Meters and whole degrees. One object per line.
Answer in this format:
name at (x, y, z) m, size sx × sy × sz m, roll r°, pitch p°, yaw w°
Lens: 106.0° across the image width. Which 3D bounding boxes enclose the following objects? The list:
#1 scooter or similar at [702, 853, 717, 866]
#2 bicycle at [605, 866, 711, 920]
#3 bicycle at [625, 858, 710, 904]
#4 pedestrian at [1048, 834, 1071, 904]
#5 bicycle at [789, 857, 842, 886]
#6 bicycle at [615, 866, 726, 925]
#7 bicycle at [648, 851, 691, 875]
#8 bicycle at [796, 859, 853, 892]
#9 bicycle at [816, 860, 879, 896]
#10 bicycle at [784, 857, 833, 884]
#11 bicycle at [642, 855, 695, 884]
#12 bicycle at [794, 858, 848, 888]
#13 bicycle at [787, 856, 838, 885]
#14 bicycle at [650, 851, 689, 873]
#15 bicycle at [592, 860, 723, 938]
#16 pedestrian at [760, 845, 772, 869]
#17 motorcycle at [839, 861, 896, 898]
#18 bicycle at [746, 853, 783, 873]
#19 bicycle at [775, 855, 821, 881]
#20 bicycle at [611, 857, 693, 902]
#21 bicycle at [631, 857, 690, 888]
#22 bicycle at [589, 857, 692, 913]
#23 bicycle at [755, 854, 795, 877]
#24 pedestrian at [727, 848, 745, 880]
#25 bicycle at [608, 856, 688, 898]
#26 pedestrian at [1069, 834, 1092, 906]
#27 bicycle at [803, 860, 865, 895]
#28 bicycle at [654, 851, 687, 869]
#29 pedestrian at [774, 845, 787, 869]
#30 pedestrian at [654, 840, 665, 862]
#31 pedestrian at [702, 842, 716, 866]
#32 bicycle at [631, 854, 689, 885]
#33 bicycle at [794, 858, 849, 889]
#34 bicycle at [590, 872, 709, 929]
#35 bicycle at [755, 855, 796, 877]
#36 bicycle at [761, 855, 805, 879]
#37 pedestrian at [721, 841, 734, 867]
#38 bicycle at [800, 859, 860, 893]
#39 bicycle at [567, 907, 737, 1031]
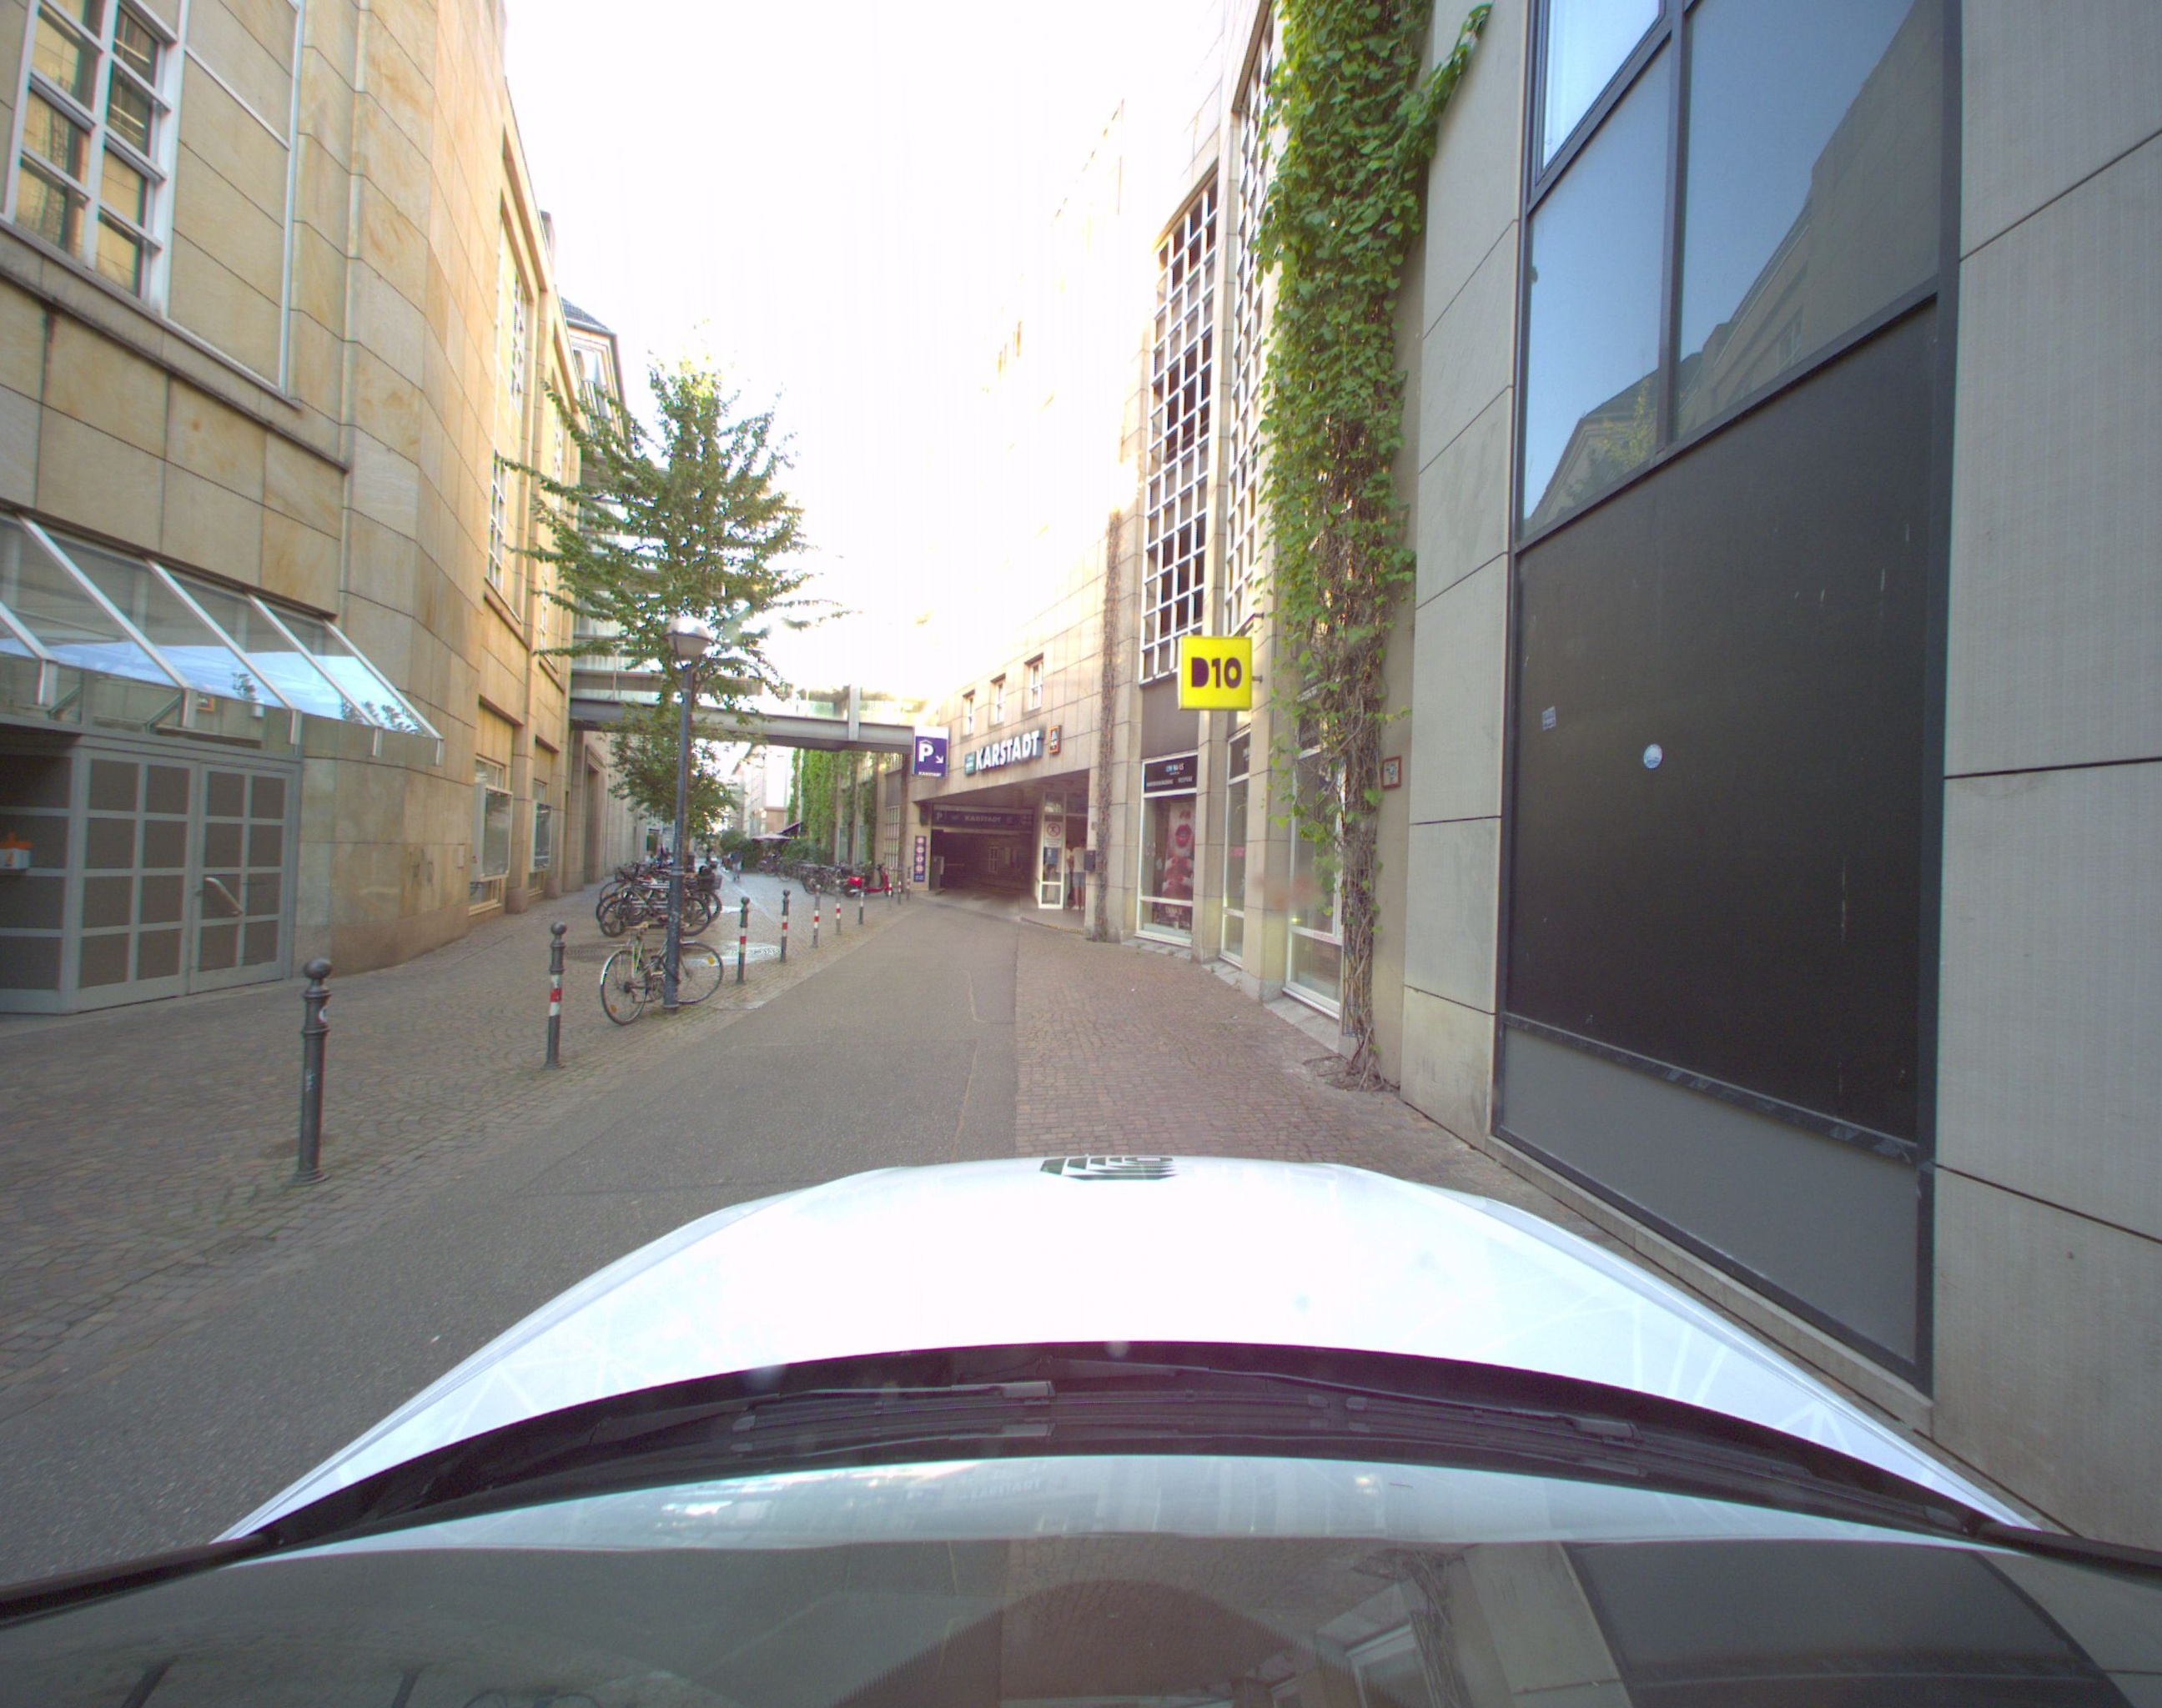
scooter or similar at (-25.629, 0.396, 56.165) m, size 0.896 × 0.843 × 0.904 m, roll 1°, pitch 0°, yaw -26°
bicycle at (-9.003, 0.833, 17.428) m, size 1.920 × 1.101 × 0.691 m, roll 2°, pitch 0°, yaw -22°
bicycle at (-11.053, 0.723, 21.843) m, size 1.920 × 1.182 × 0.691 m, roll 2°, pitch 0°, yaw -22°
pedestrian at (-0.578, 0.402, 21.748) m, size 0.540 × 1.846 × 0.408 m, roll 2°, pitch 0°, yaw 1°
bicycle at (-11.028, 0.704, 33.834) m, size 2.003 × 1.182 × 0.688 m, roll 0°, pitch 0°, yaw -24°
bicycle at (-8.180, 0.826, 16.316) m, size 1.922 × 1.101 × 0.690 m, roll 2°, pitch 0°, yaw -25°
bicycle at (-21.518, 0.474, 42.604) m, size 1.920 × 1.182 × 0.691 m, roll 2°, pitch 0°, yaw -22°
bicycle at (-9.650, 0.777, 30.630) m, size 2.003 × 1.182 × 0.796 m, roll 0°, pitch 0°, yaw -24°
bicycle at (-7.997, 0.800, 27.903) m, size 2.003 × 1.182 × 0.690 m, roll 0°, pitch 0°, yaw -24°
bicycle at (-12.072, 0.718, 36.053) m, size 2.003 × 1.182 × 0.688 m, roll 0°, pitch 0°, yaw -24°
bicycle at (-17.743, 0.668, 35.071) m, size 1.920 × 1.182 × 0.691 m, roll 2°, pitch 0°, yaw -22°
bicycle at (-10.535, 0.746, 32.995) m, size 2.003 × 1.182 × 0.688 m, roll 0°, pitch 0°, yaw -24°
bicycle at (-11.545, 0.705, 35.025) m, size 2.003 × 1.182 × 0.688 m, roll 0°, pitch 0°, yaw -24°
bicycle at (-23.419, 0.441, 46.396) m, size 1.920 × 1.182 × 0.691 m, roll 2°, pitch 0°, yaw -22°
bicycle at (-7.260, 0.755, 14.064) m, size 1.922 × 1.261 × 0.802 m, roll 2°, pitch 0°, yaw -25°
pedestrian at (-23.647, 0.204, 61.150) m, size 0.779 × 1.804 × 0.761 m, roll 2°, pitch -1°, yaw -27°
motorcycle at (-6.904, 0.798, 26.326) m, size 1.753 × 1.155 × 0.590 m, roll 0°, pitch 0°, yaw -22°
bicycle at (-18.952, 0.532, 48.766) m, size 2.003 × 1.182 × 0.688 m, roll 0°, pitch 0°, yaw -24°
bicycle at (-13.307, 0.652, 38.303) m, size 2.003 × 1.182 × 0.688 m, roll 0°, pitch 0°, yaw -24°
bicycle at (-11.821, 0.701, 22.512) m, size 1.920 × 1.182 × 0.691 m, roll 2°, pitch 0°, yaw -22°
bicycle at (-16.262, 0.717, 31.555) m, size 1.920 × 1.182 × 0.691 m, roll 2°, pitch 0°, yaw -22°
bicycle at (-9.835, 0.696, 18.254) m, size 1.920 × 1.182 × 0.691 m, roll 2°, pitch 0°, yaw -22°
bicycle at (-16.723, 0.617, 44.474) m, size 2.003 × 1.182 × 0.688 m, roll 0°, pitch 0°, yaw -24°
pedestrian at (-16.743, 0.482, 39.536) m, size 0.752 × 1.509 × 0.632 m, roll 1°, pitch -1°, yaw -27°
bicycle at (-12.466, 0.667, 23.496) m, size 1.920 × 1.182 × 0.691 m, roll 2°, pitch 0°, yaw -22°
pedestrian at (-0.020, 0.423, 21.511) m, size 0.540 × 1.861 × 0.408 m, roll 2°, pitch 0°, yaw 1°
bicycle at (-8.704, 0.805, 28.698) m, size 2.003 × 1.182 × 0.690 m, roll 0°, pitch 0°, yaw -24°
bicycle at (-28.033, 0.407, 55.662) m, size 1.920 × 1.182 × 0.691 m, roll 2°, pitch 0°, yaw -22°
pedestrian at (-22.641, 0.234, 61.284) m, size 0.779 × 1.804 × 0.761 m, roll 2°, pitch -1°, yaw -27°
pedestrian at (-35.020, -0.239, 67.607) m, size 0.779 × 1.804 × 0.628 m, roll 1°, pitch -1°, yaw -28°
pedestrian at (-26.027, 0.005, 56.974) m, size 0.896 × 1.639 × 0.904 m, roll 1°, pitch -1°, yaw -26°
bicycle at (-16.682, 0.609, 32.325) m, size 1.920 × 1.182 × 0.691 m, roll 2°, pitch 0°, yaw -22°
bicycle at (-10.200, 0.743, 32.036) m, size 2.003 × 1.182 × 0.796 m, roll 0°, pitch 0°, yaw -24°
bicycle at (-8.111, 0.872, 15.400) m, size 1.922 × 0.994 × 0.690 m, roll 2°, pitch 0°, yaw -25°
bicycle at (-16.387, 0.637, 43.693) m, size 2.003 × 1.182 × 0.688 m, roll 0°, pitch 0°, yaw -24°
bicycle at (-14.621, 0.624, 40.000) m, size 2.003 × 1.182 × 0.688 m, roll 0°, pitch 0°, yaw -24°
pedestrian at (-24.544, 0.011, 56.556) m, size 0.769 × 1.804 × 0.770 m, roll 1°, pitch -1°, yaw -26°
bicycle at (-9.111, 0.782, 29.543) m, size 2.003 × 1.182 × 0.796 m, roll 0°, pitch 0°, yaw -24°
bicycle at (-4.128, 1.064, 7.992) m, size 0.502 × 0.966 × 1.699 m, roll 1°, pitch 0°, yaw 10°
